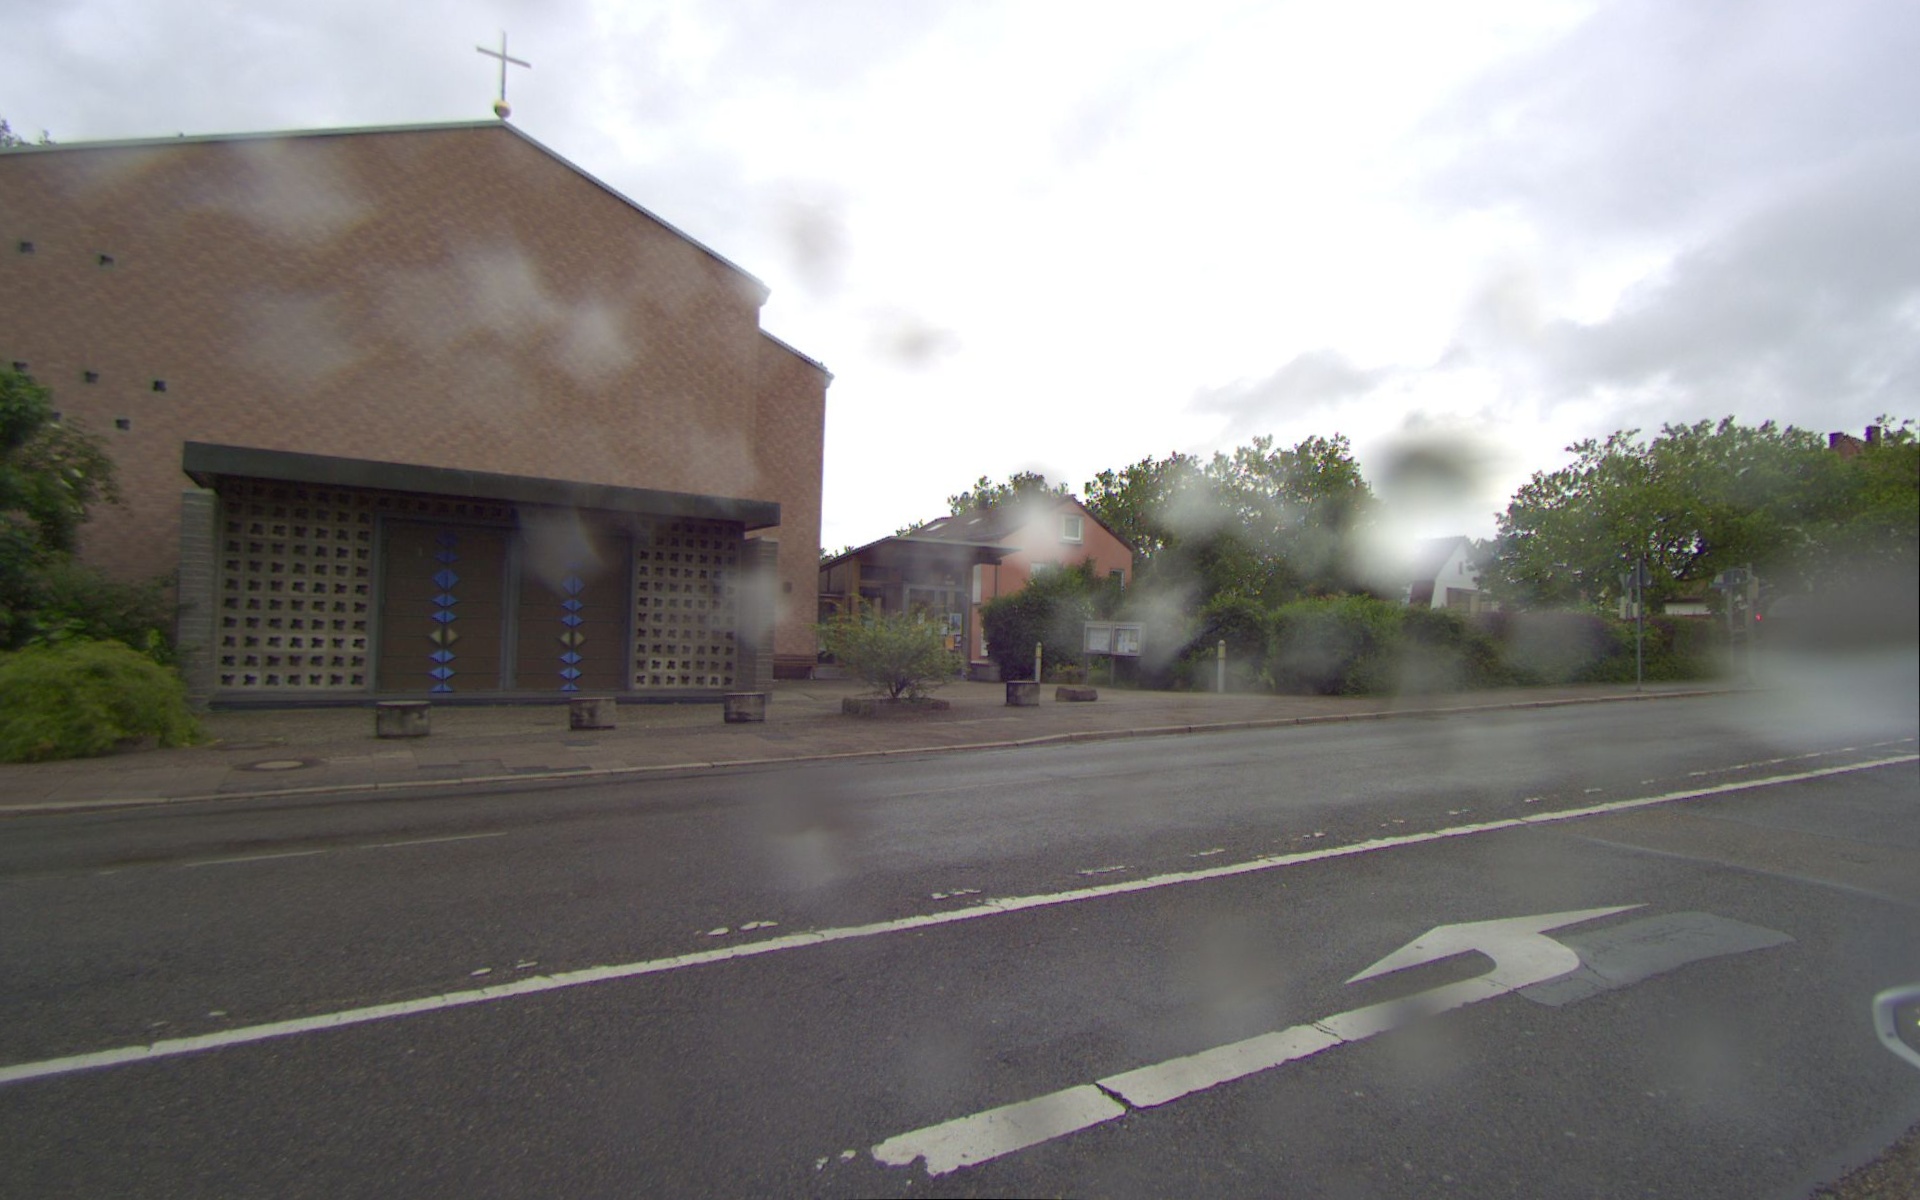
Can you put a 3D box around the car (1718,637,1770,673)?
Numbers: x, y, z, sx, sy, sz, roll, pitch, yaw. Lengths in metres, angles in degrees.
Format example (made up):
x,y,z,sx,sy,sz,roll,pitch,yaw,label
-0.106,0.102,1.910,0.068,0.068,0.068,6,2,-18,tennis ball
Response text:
x,y,z,sx,sy,sz,roll,pitch,yaw,label
38.634,2.675,49.500,1.969,1.572,3.983,0,-1,38,car
